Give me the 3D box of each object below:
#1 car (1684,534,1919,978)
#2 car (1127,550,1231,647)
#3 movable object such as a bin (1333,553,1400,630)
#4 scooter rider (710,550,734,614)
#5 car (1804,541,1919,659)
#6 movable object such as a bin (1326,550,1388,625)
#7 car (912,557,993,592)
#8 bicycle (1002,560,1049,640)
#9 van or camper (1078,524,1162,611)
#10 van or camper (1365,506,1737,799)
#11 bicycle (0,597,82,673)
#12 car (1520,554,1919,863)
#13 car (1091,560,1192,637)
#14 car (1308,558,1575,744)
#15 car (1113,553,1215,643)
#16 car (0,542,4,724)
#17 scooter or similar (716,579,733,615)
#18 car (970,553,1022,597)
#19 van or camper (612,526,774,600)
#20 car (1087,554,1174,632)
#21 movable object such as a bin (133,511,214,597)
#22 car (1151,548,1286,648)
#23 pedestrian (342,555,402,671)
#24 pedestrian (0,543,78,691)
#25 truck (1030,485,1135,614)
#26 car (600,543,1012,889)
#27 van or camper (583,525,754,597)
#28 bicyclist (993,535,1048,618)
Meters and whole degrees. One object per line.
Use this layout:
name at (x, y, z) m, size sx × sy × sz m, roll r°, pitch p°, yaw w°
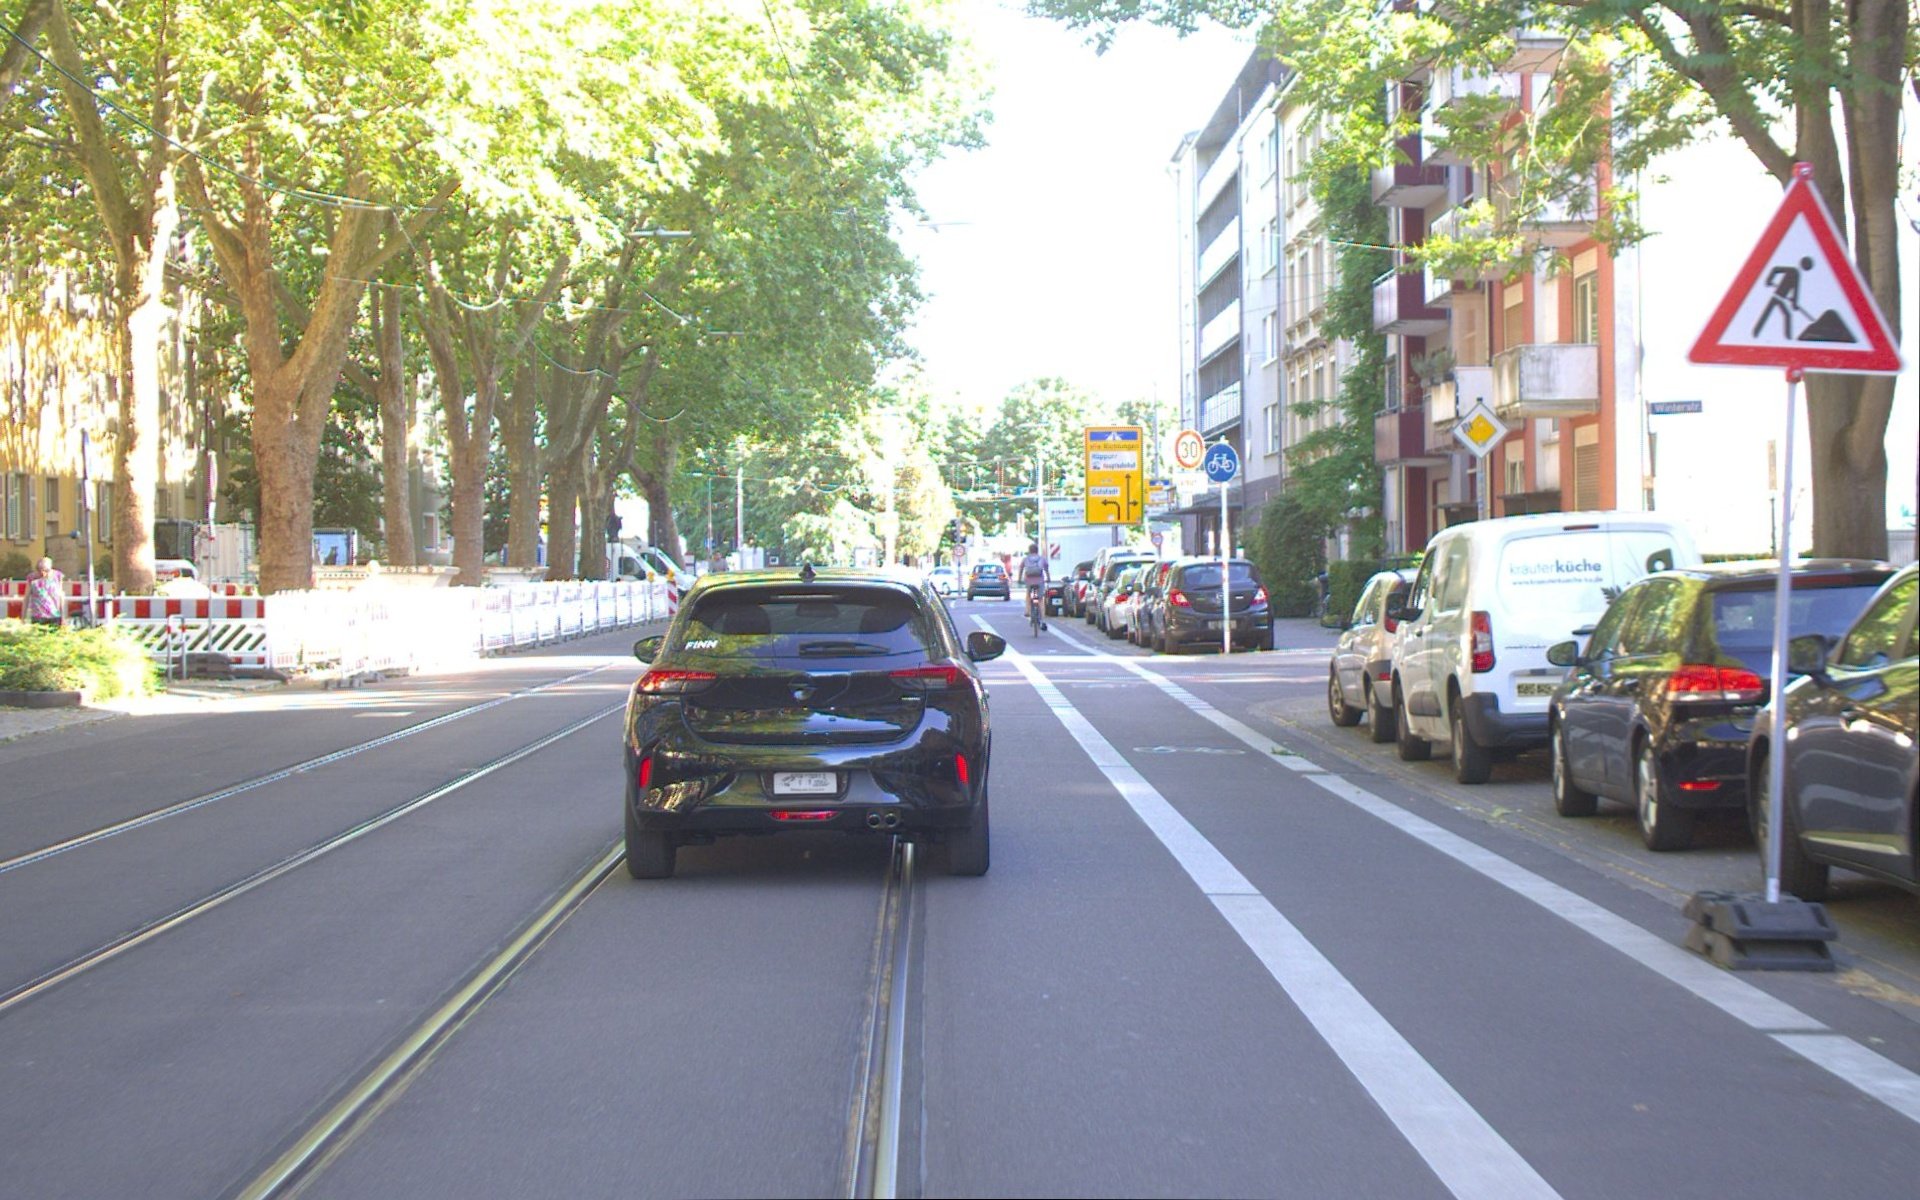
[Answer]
car at (4.285, 0.519, 13.713) m, size 1.767 × 1.567 × 4.337 m, roll -2°, pitch 1°, yaw -1°
car at (3.700, -0.034, 58.451) m, size 1.526 × 1.584 × 3.752 m, roll 1°, pitch 0°, yaw 0°
movable object such as a bin at (7.104, -0.149, 60.138) m, size 0.967 × 1.322 × 1.721 m, roll 1°, pitch 0°, yaw 0°
scooter rider at (-7.250, -0.547, 104.764) m, size 0.649 × 1.950 × 0.624 m, roll 1°, pitch 0°, yaw 0°
car at (13.484, -0.022, 46.130) m, size 3.913 × 1.477 × 1.562 m, roll 0°, pitch 3°, yaw -1°
movable object such as a bin at (7.146, -0.225, 61.928) m, size 0.923 × 1.322 × 1.681 m, roll 1°, pitch 0°, yaw 0°
car at (-0.409, -1.315, 177.738) m, size 1.917 × 1.690 × 4.321 m, roll -3°, pitch 1°, yaw -36°
bicycle at (1.311, -0.020, 69.397) m, size 0.916 × 1.555 × 3.405 m, roll 0°, pitch 1°, yaw 1°
van or camper at (3.632, -0.750, 78.553) m, size 1.669 × 1.876 × 4.211 m, roll -2°, pitch 1°, yaw 0°
van or camper at (4.090, 0.301, 24.560) m, size 1.755 × 1.858 × 4.830 m, roll -1°, pitch 1°, yaw -1°
bicycle at (-12.494, 0.457, 44.674) m, size 1.972 × 0.959 × 0.726 m, roll 0°, pitch 1°, yaw 1°
car at (4.282, 0.498, 18.792) m, size 1.705 × 1.468 × 4.168 m, roll -1°, pitch 1°, yaw -1°
car at (3.587, -0.050, 68.567) m, size 1.659 × 1.394 × 4.740 m, roll -2°, pitch 1°, yaw -1°
car at (4.108, 0.386, 29.868) m, size 1.705 × 1.468 × 4.000 m, roll -1°, pitch 1°, yaw -1°
car at (3.711, -0.044, 63.040) m, size 1.591 × 1.521 × 3.835 m, roll -2°, pitch 0°, yaw 0°
car at (-11.108, 0.352, 31.209) m, size 4.235 × 1.682 × 1.933 m, roll -1°, pitch 1°, yaw 7°
scooter or similar at (-7.191, -0.099, 104.841) m, size 0.407 × 1.079 × 1.338 m, roll 1°, pitch 0°, yaw 0°
car at (1.466, -1.060, 143.037) m, size 1.993 × 1.690 × 4.740 m, roll -2°, pitch 1°, yaw -1°
van or camper at (-9.762, -1.357, 126.179) m, size 5.724 × 2.635 × 2.269 m, roll 1°, pitch 0°, yaw 0°
car at (3.624, -0.169, 73.670) m, size 1.660 × 1.575 × 3.589 m, roll -2°, pitch 1°, yaw 0°
movable object such as a bin at (-17.556, -1.018, 76.770) m, size 1.333 × 1.862 × 2.007 m, roll 1°, pitch 0°, yaw 0°
car at (4.046, -0.056, 54.353) m, size 1.733 × 1.457 × 3.916 m, roll -2°, pitch 1°, yaw -1°
pedestrian at (-8.551, 0.181, 50.019) m, size 0.716 × 1.663 × 0.778 m, roll 1°, pitch 0°, yaw 0°
pedestrian at (-11.068, 0.197, 41.104) m, size 0.822 × 1.739 × 0.796 m, roll 1°, pitch 0°, yaw 0°
truck at (3.357, -1.392, 95.867) m, size 2.538 × 3.327 × 7.195 m, roll -3°, pitch 0°, yaw 0°
car at (-0.692, 0.475, 16.886) m, size 1.781 × 1.491 × 4.000 m, roll 0°, pitch 1°, yaw -1°
van or camper at (-9.880, -1.312, 116.885) m, size 5.502 × 2.371 × 2.269 m, roll 1°, pitch 0°, yaw 3°
bicyclist at (1.211, -0.475, 69.223) m, size 1.089 × 1.641 × 1.400 m, roll 0°, pitch 1°, yaw 1°
